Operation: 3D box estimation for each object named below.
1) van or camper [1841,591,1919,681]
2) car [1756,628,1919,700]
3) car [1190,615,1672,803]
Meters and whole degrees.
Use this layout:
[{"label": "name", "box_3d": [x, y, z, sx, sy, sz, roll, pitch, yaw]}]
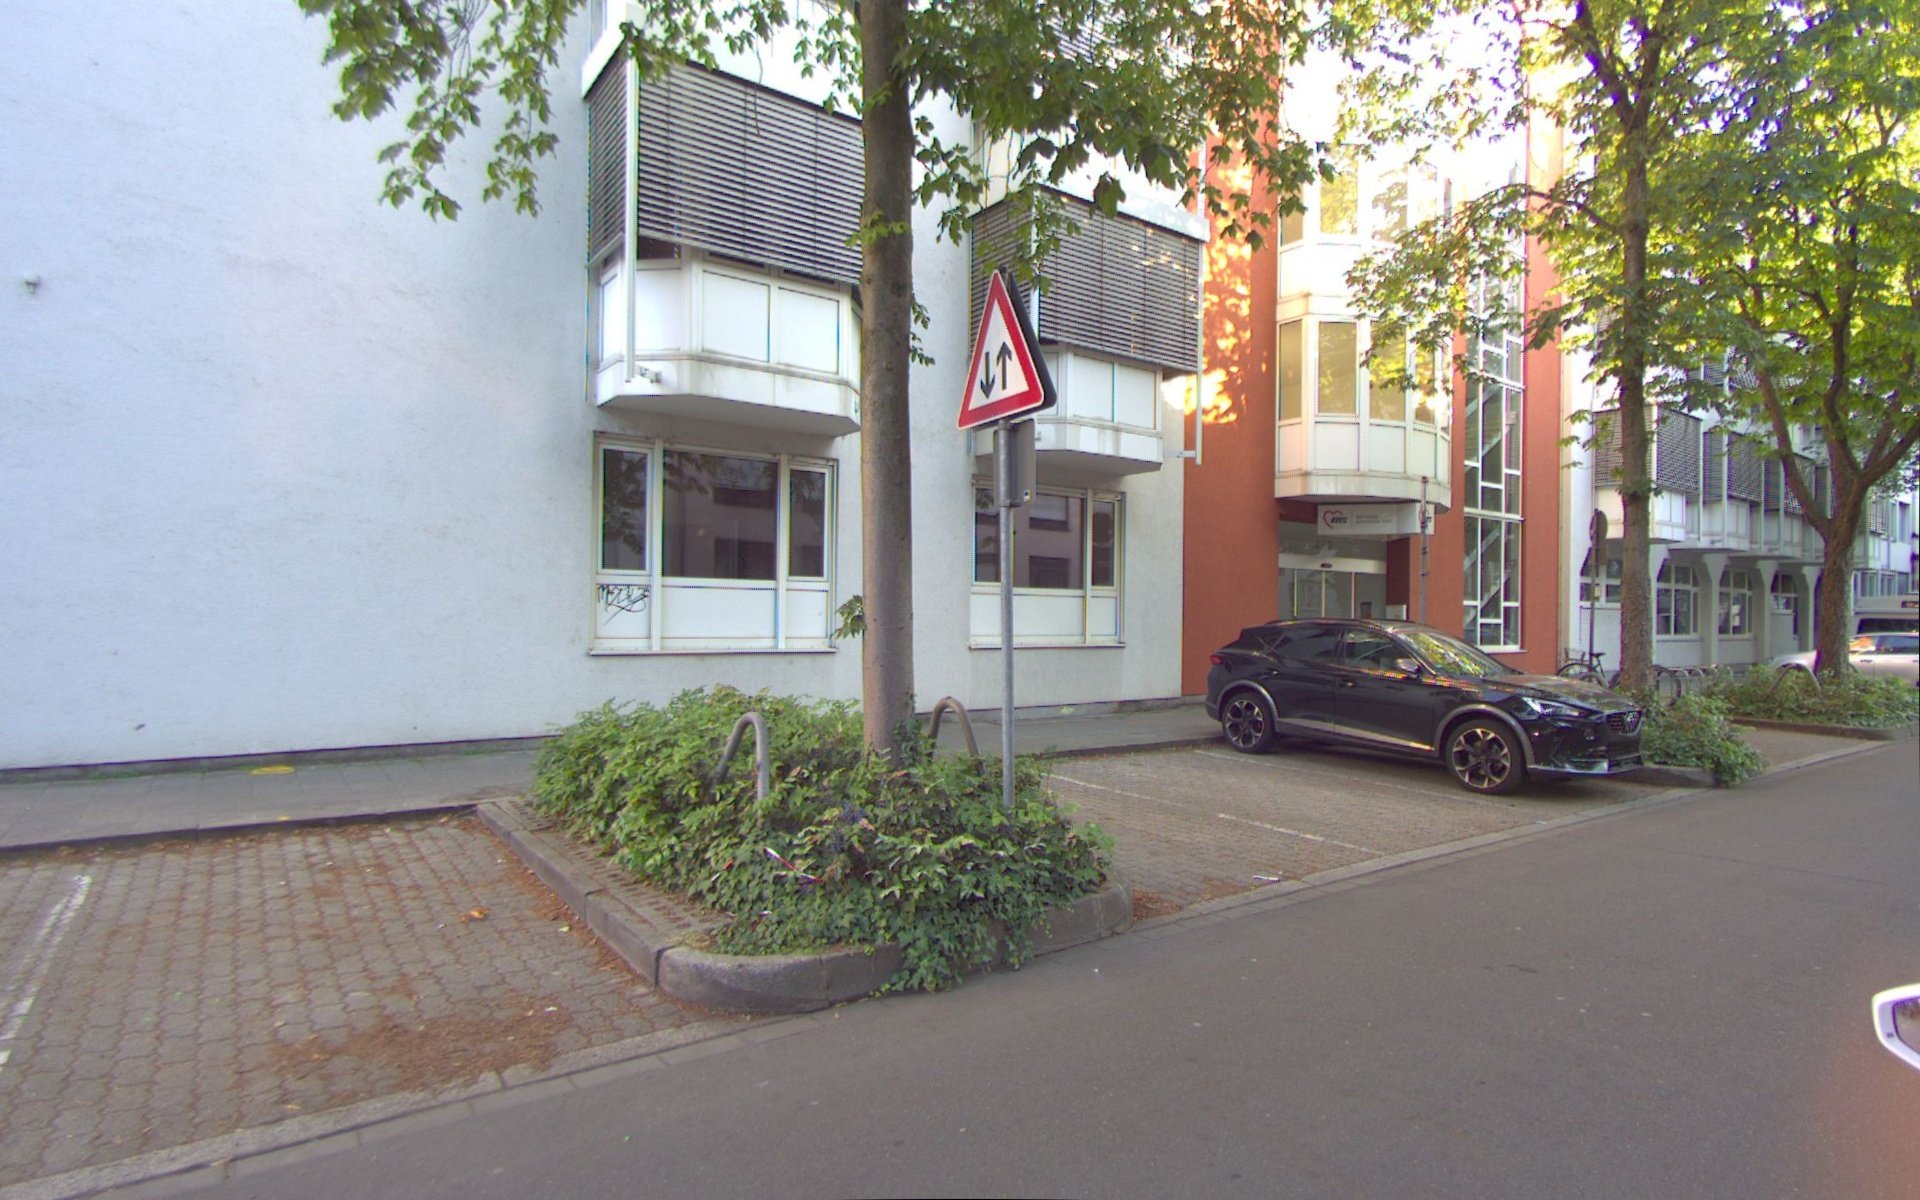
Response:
[{"label": "van or camper", "box_3d": [27.859, 1.021, 28.032, 1.981, 2.511, 4.632, 1, -1, -36]}, {"label": "car", "box_3d": [21.119, 1.441, 23.231, 1.767, 1.537, 3.942, 1, -1, -35]}, {"label": "car", "box_3d": [4.676, 0.943, 10.602, 1.768, 1.537, 4.325, 1, -1, -35]}]
